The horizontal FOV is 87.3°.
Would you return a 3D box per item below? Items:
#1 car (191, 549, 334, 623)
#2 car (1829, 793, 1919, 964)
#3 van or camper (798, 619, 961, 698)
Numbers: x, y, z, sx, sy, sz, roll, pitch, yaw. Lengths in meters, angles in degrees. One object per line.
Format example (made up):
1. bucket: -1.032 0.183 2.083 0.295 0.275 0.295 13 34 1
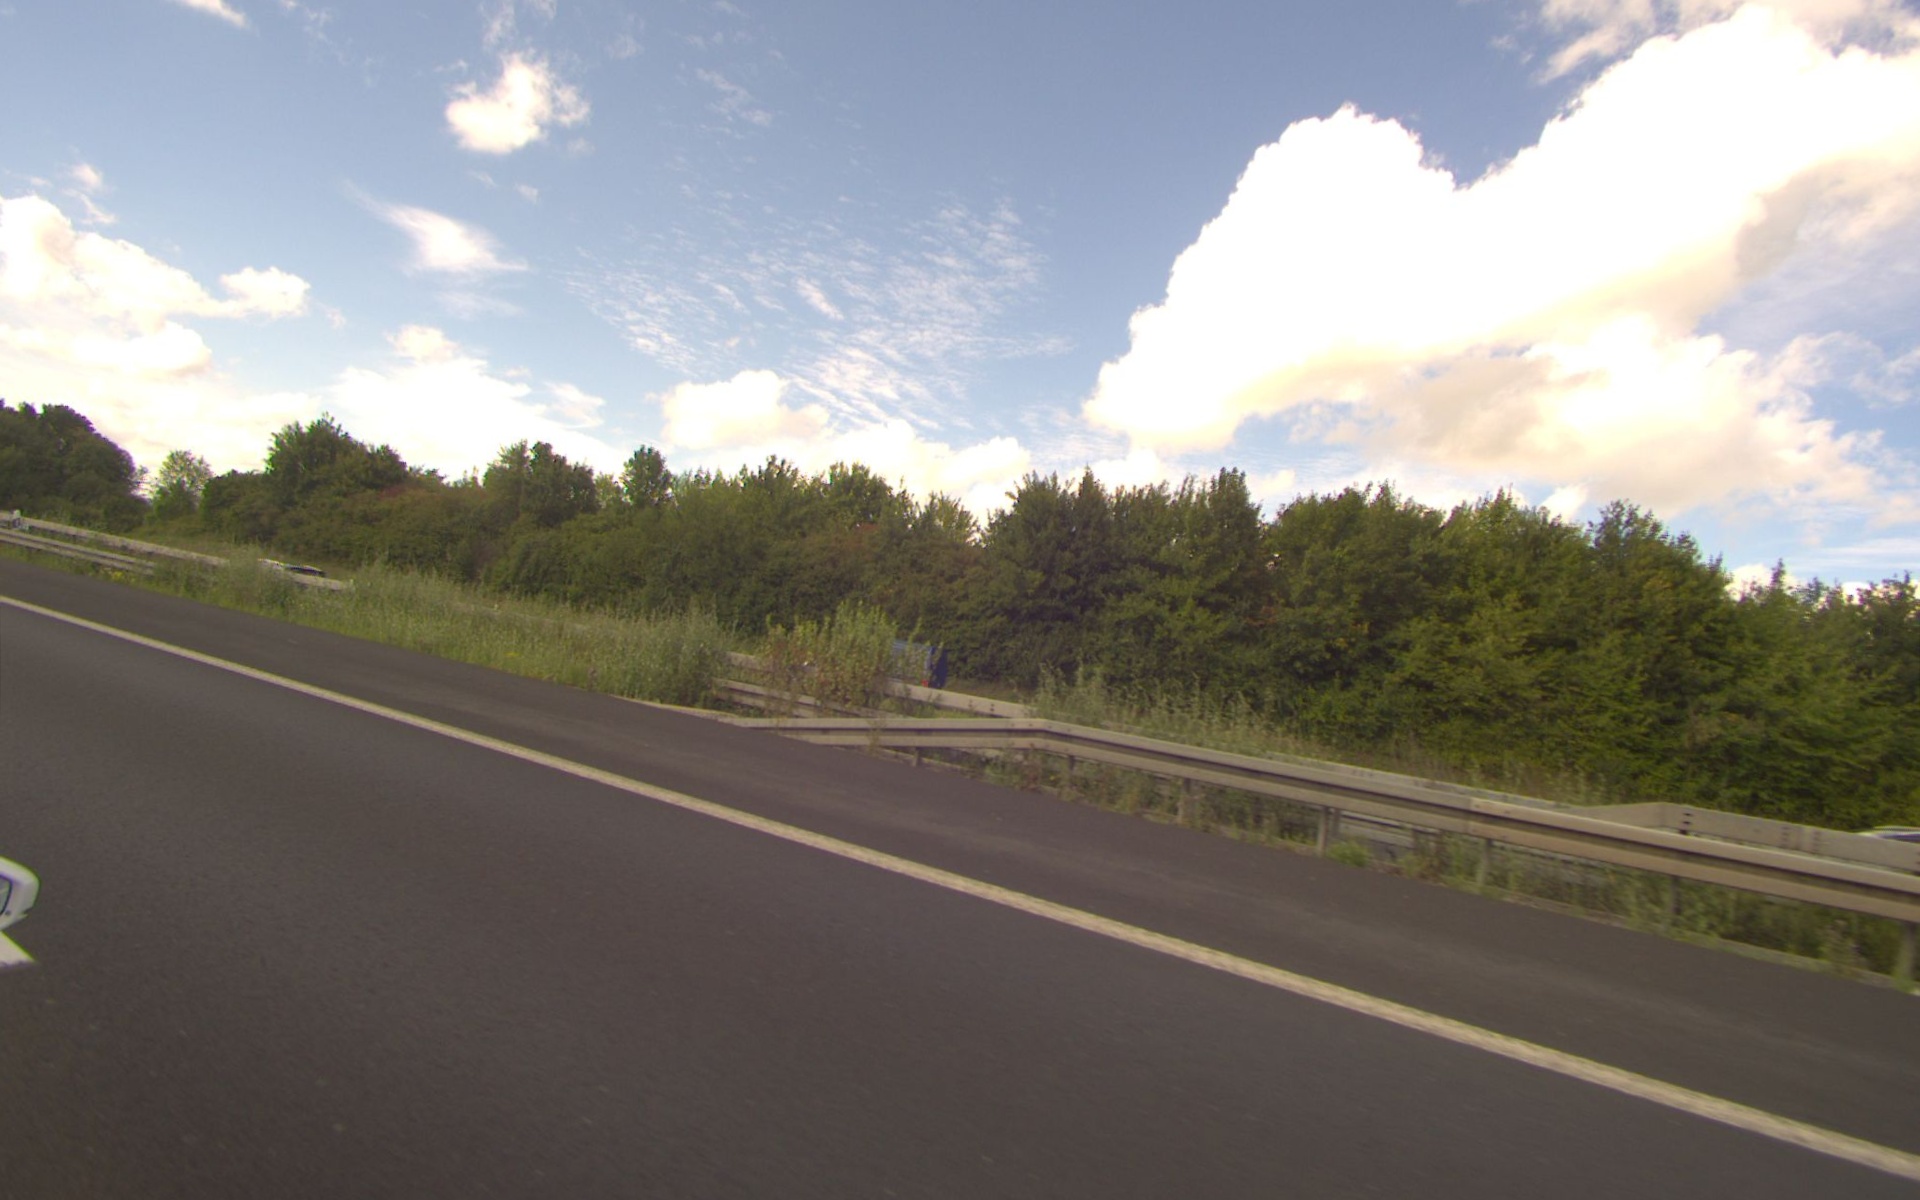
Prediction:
1. car: -20.385 -0.424 29.379 3.957 1.589 1.788 7 -2 30
2. car: 11.808 3.200 10.134 4.274 1.589 1.787 6 -2 34
3. van or camper: -3.099 2.242 38.738 5.673 2.204 2.199 7 -2 23
